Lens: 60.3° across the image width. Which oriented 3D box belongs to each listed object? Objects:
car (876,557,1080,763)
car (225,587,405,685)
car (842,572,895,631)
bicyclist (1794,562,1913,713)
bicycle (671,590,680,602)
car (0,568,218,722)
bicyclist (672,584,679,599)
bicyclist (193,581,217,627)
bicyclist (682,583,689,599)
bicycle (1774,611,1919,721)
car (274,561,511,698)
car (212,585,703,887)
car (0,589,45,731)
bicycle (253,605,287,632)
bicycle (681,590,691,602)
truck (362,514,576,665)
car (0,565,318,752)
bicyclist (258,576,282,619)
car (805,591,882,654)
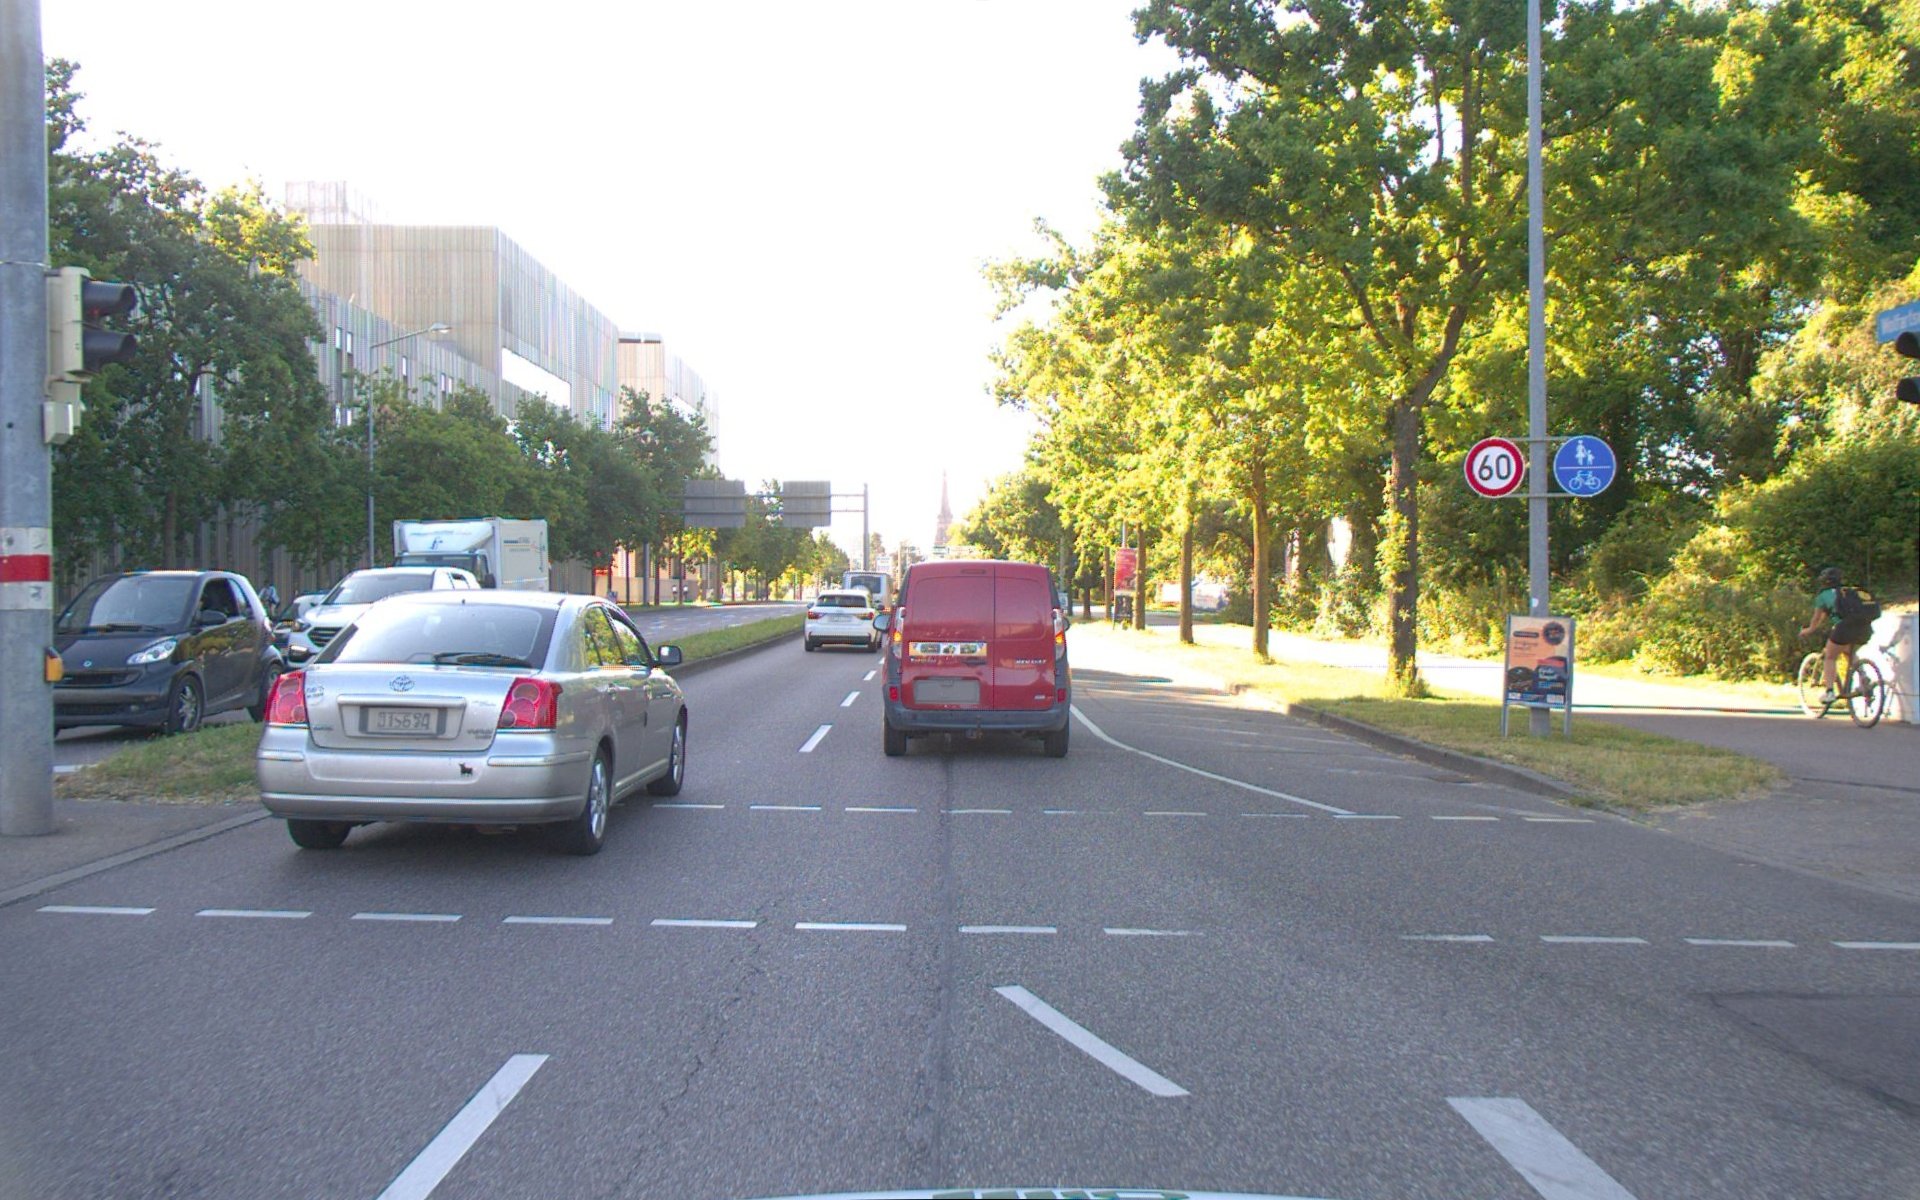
[{"bbox_3d":[0.131,0.516,16.577,1.769,1.790,4.005,1,0,-1],"label":"car"},{"bbox_3d":[-10.883,0.561,28.146,1.587,1.495,3.640,-2,1,0],"label":"car"},{"bbox_3d":[-3.041,0.033,55.486,1.627,1.889,3.558,0,0,-1],"label":"car"},{"bbox_3d":[9.493,0.382,17.600,0.671,1.549,1.035,0,0,-4],"label":"bicyclist"},{"bbox_3d":[-25.881,-0.344,150.637,0.477,1.021,2.095,0,0,-2],"label":"bicycle"},{"bbox_3d":[-11.266,0.543,21.397,1.590,1.786,3.875,-1,0,-1],"label":"car"},{"bbox_3d":[-25.884,-0.778,150.584,0.472,1.419,0.844,0,0,-2],"label":"bicyclist"},{"bbox_3d":[-25.354,0.122,55.565,0.497,1.533,0.644,0,0,-1],"label":"bicyclist"},{"bbox_3d":[-24.904,-0.831,150.187,0.551,1.417,0.747,0,0,-2],"label":"bicyclist"},{"bbox_3d":[9.495,0.676,17.718,0.505,1.091,1.935,0,0,-4],"label":"bicycle"},{"bbox_3d":[-7.973,0.366,23.718,1.787,1.711,4.658,-2,0,-1],"label":"car"},{"bbox_3d":[-2.842,0.671,10.376,1.803,1.482,4.162,1,0,0],"label":"car"},{"bbox_3d":[-10.778,0.658,16.139,1.668,1.466,3.752,-1,1,-2],"label":"car"},{"bbox_3d":[-24.190,0.637,58.004,0.501,0.906,1.754,0,1,-1],"label":"bicycle"},{"bbox_3d":[-24.901,-0.352,150.224,0.558,1.021,2.095,0,0,-2],"label":"bicycle"},{"bbox_3d":[-10.930,-0.247,37.575,2.631,3.012,7.114,-2,0,0],"label":"truck"},{"bbox_3d":[-7.730,0.506,16.223,1.569,1.608,3.213,-1,0,0],"label":"car"},{"bbox_3d":[-24.192,-0.094,57.989,0.497,1.467,0.753,0,0,-1],"label":"bicyclist"},{"bbox_3d":[-2.755,0.509,39.747,1.627,1.422,3.558,0,0,-1],"label":"car"}]
